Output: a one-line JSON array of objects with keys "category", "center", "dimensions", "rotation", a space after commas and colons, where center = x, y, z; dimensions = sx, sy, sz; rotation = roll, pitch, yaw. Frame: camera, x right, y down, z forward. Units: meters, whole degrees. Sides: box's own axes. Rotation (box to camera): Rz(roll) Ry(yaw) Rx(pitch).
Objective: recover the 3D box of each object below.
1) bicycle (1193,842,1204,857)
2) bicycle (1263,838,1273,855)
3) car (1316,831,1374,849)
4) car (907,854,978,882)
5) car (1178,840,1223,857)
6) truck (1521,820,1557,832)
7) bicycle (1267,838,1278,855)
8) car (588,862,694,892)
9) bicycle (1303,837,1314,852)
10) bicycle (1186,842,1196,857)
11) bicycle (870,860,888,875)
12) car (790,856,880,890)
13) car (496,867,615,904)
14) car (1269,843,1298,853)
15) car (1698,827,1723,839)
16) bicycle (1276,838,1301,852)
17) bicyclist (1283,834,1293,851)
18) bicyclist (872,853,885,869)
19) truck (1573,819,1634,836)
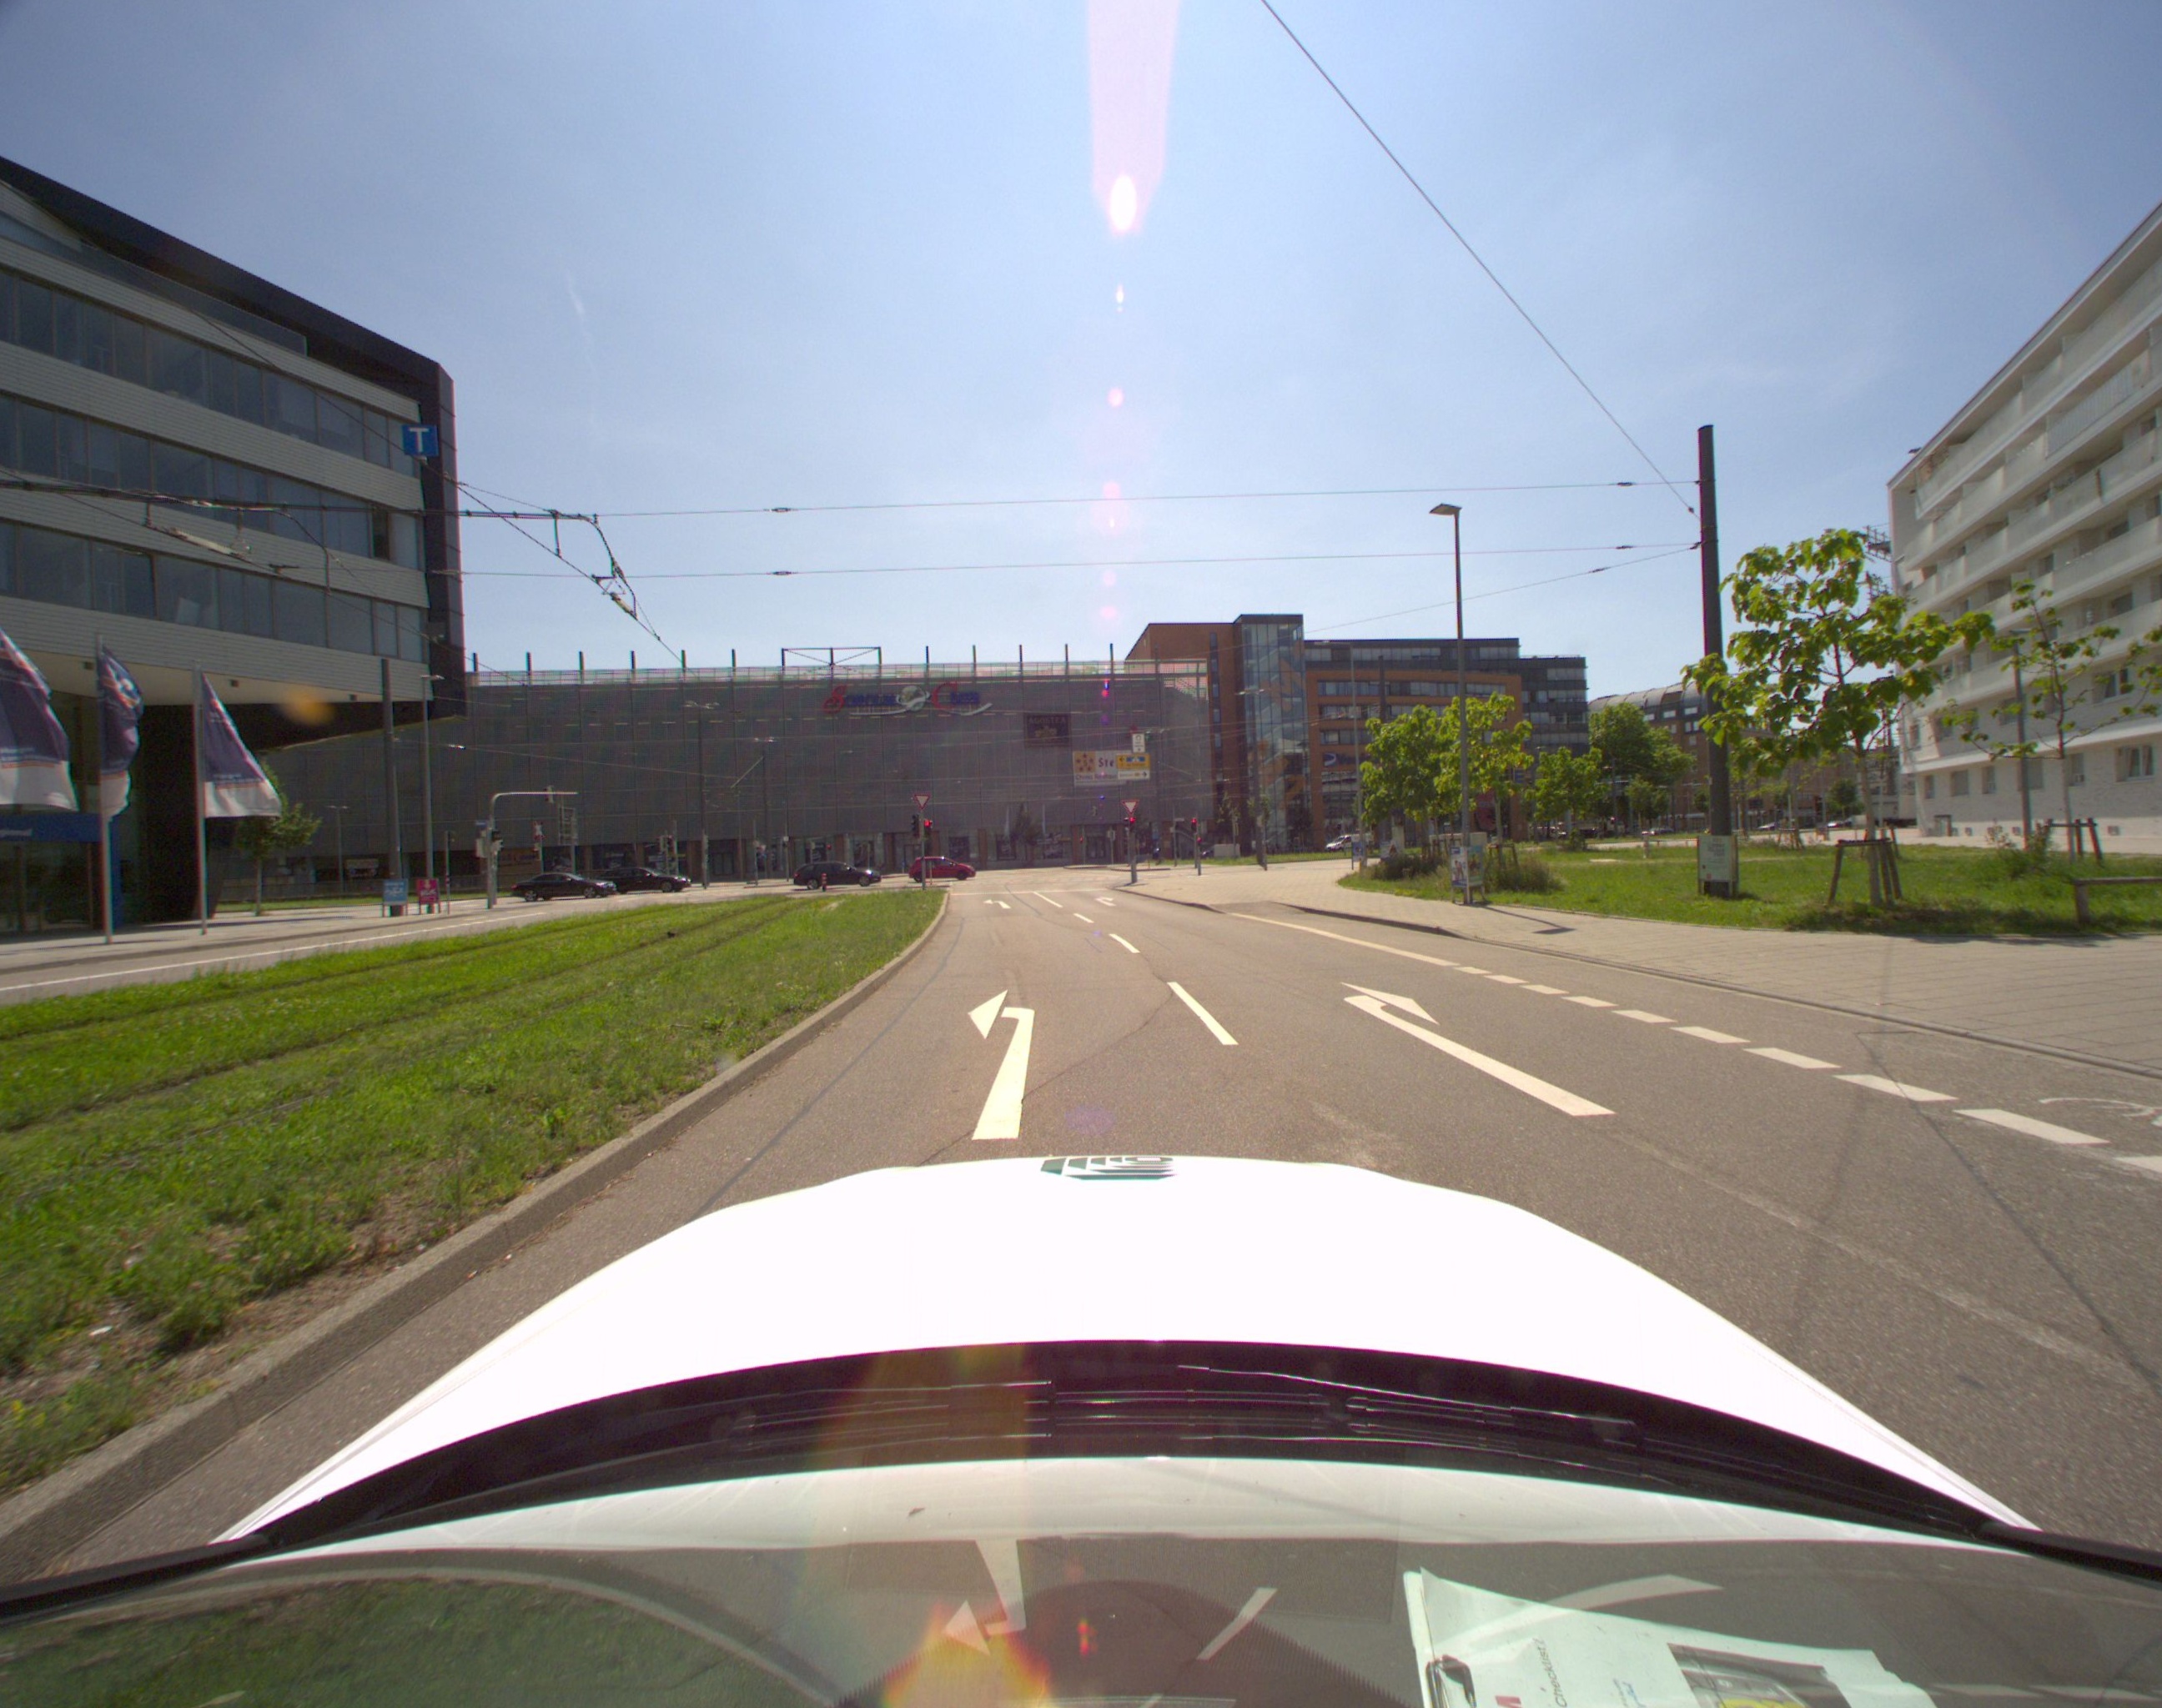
[{"category": "bicycle", "center": [13.662, -0.538, 94.690], "dimensions": [0.598, 1.731, 2.255], "rotation": [-1, 1, -6]}, {"category": "bicycle", "center": [22.400, -0.905, 97.659], "dimensions": [0.484, 2.013, 2.342], "rotation": [-1, 1, -5]}, {"category": "car", "center": [27.075, -1.402, 83.565], "dimensions": [5.469, 1.668, 1.991], "rotation": [-2, 1, -13]}, {"category": "car", "center": [-8.318, 0.824, 48.973], "dimensions": [4.128, 1.508, 1.835], "rotation": [-2, 1, -12]}, {"category": "car", "center": [11.648, -0.557, 79.394], "dimensions": [3.987, 1.538, 1.875], "rotation": [-2, 1, -10]}, {"category": "truck", "center": [81.439, -5.000, 144.924], "dimensions": [1.889, 2.013, 5.325], "rotation": [-2, 1, -32]}, {"category": "bicycle", "center": [22.940, -0.947, 97.629], "dimensions": [0.484, 2.013, 2.342], "rotation": [-1, 1, -5]}, {"category": "car", "center": [-24.436, 1.268, 45.389], "dimensions": [4.766, 1.460, 1.881], "rotation": [-2, 1, -11]}, {"category": "bicycle", "center": [27.271, -1.148, 97.819], "dimensions": [0.484, 1.796, 2.255], "rotation": [-1, 1, -5]}, {"category": "bicycle", "center": [12.797, -0.572, 94.617], "dimensions": [0.598, 1.731, 2.255], "rotation": [-1, 1, -6]}, {"category": "bicycle", "center": [-20.526, 1.349, 82.878], "dimensions": [1.058, 1.390, 3.023], "rotation": [-1, 1, 0]}, {"category": "car", "center": [-13.359, 1.012, 44.484], "dimensions": [4.534, 1.508, 1.833], "rotation": [-3, 1, -15]}, {"category": "car", "center": [-26.326, 1.549, 40.957], "dimensions": [4.550, 1.576, 1.993], "rotation": [-2, 1, -11]}, {"category": "car", "center": [23.365, -0.671, 93.863], "dimensions": [2.994, 1.035, 1.345], "rotation": [-2, 1, -11]}, {"category": "car", "center": [86.890, -2.882, 112.434], "dimensions": [4.018, 1.530, 1.665], "rotation": [-2, 1, -37]}, {"category": "bicycle", "center": [24.408, -1.012, 95.850], "dimensions": [2.845, 1.557, 0.703], "rotation": [-1, 0, -6]}, {"category": "bicyclist", "center": [24.432, -1.316, 95.906], "dimensions": [0.911, 2.013, 0.747], "rotation": [-1, 0, -6]}, {"category": "bicyclist", "center": [-20.539, 0.752, 82.651], "dimensions": [1.036, 1.571, 0.777], "rotation": [-1, 0, -1]}, {"category": "truck", "center": [91.983, -4.656, 143.546], "dimensions": [2.005, 2.809, 9.156], "rotation": [-2, 1, -28]}]
